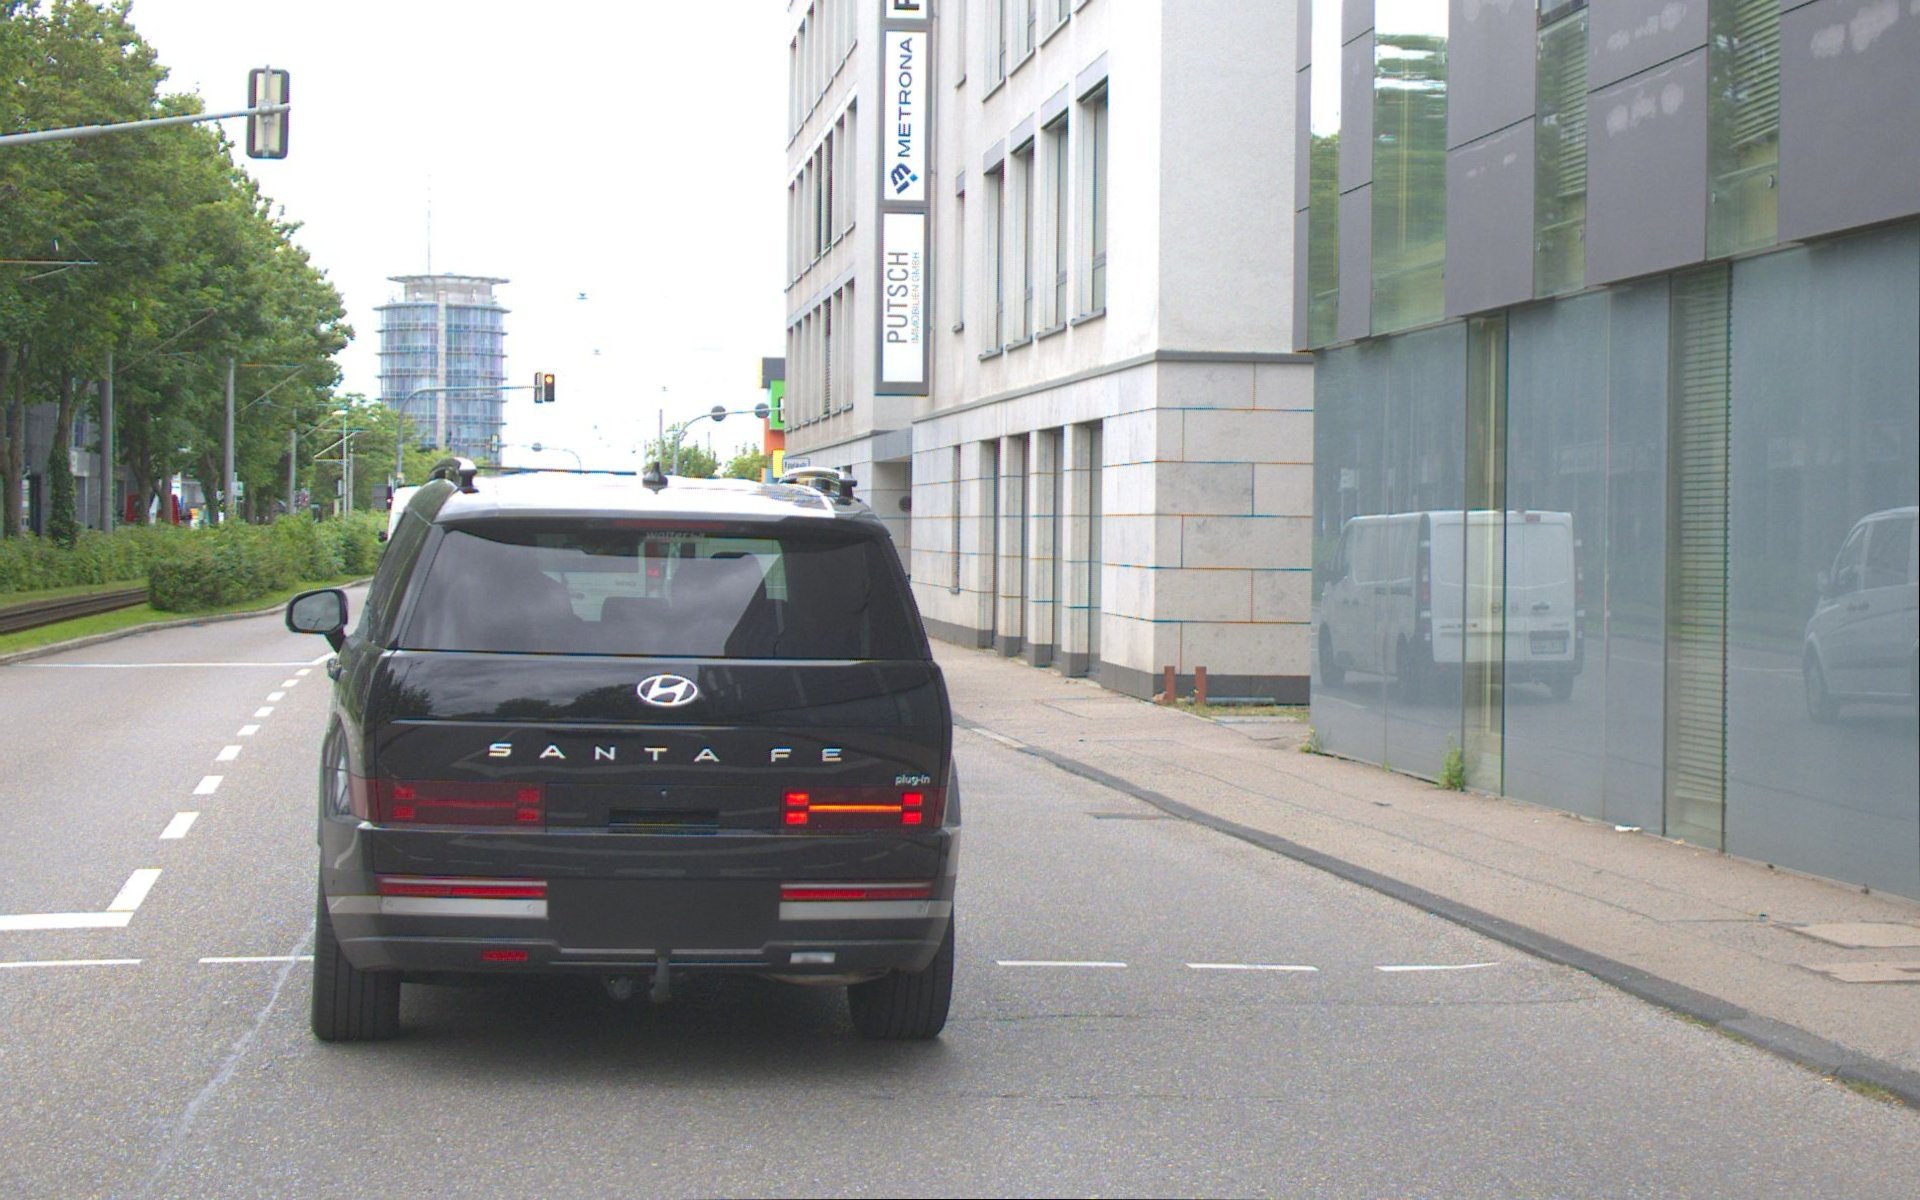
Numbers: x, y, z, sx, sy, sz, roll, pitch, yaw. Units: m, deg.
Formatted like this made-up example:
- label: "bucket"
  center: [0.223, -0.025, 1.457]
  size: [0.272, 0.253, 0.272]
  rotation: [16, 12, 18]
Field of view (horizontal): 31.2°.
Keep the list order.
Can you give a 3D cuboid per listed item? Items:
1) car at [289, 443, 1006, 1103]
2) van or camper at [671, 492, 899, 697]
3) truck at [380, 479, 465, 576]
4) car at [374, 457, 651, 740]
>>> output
- label: "car"
  center: [-1.192, 0.426, 11.409]
  size: [1.908, 1.743, 4.398]
  rotation: [0, 1, -10]
- label: "van or camper"
  center: [-1.849, -0.105, 35.008]
  size: [1.993, 1.909, 4.333]
  rotation: [1, 1, -7]
- label: "truck"
  center: [-14.809, -2.008, 94.996]
  size: [2.165, 2.606, 5.798]
  rotation: [0, 1, -7]
- label: "car"
  center: [-3.533, -0.058, 26.595]
  size: [1.931, 1.987, 4.536]
  rotation: [0, 1, -9]
